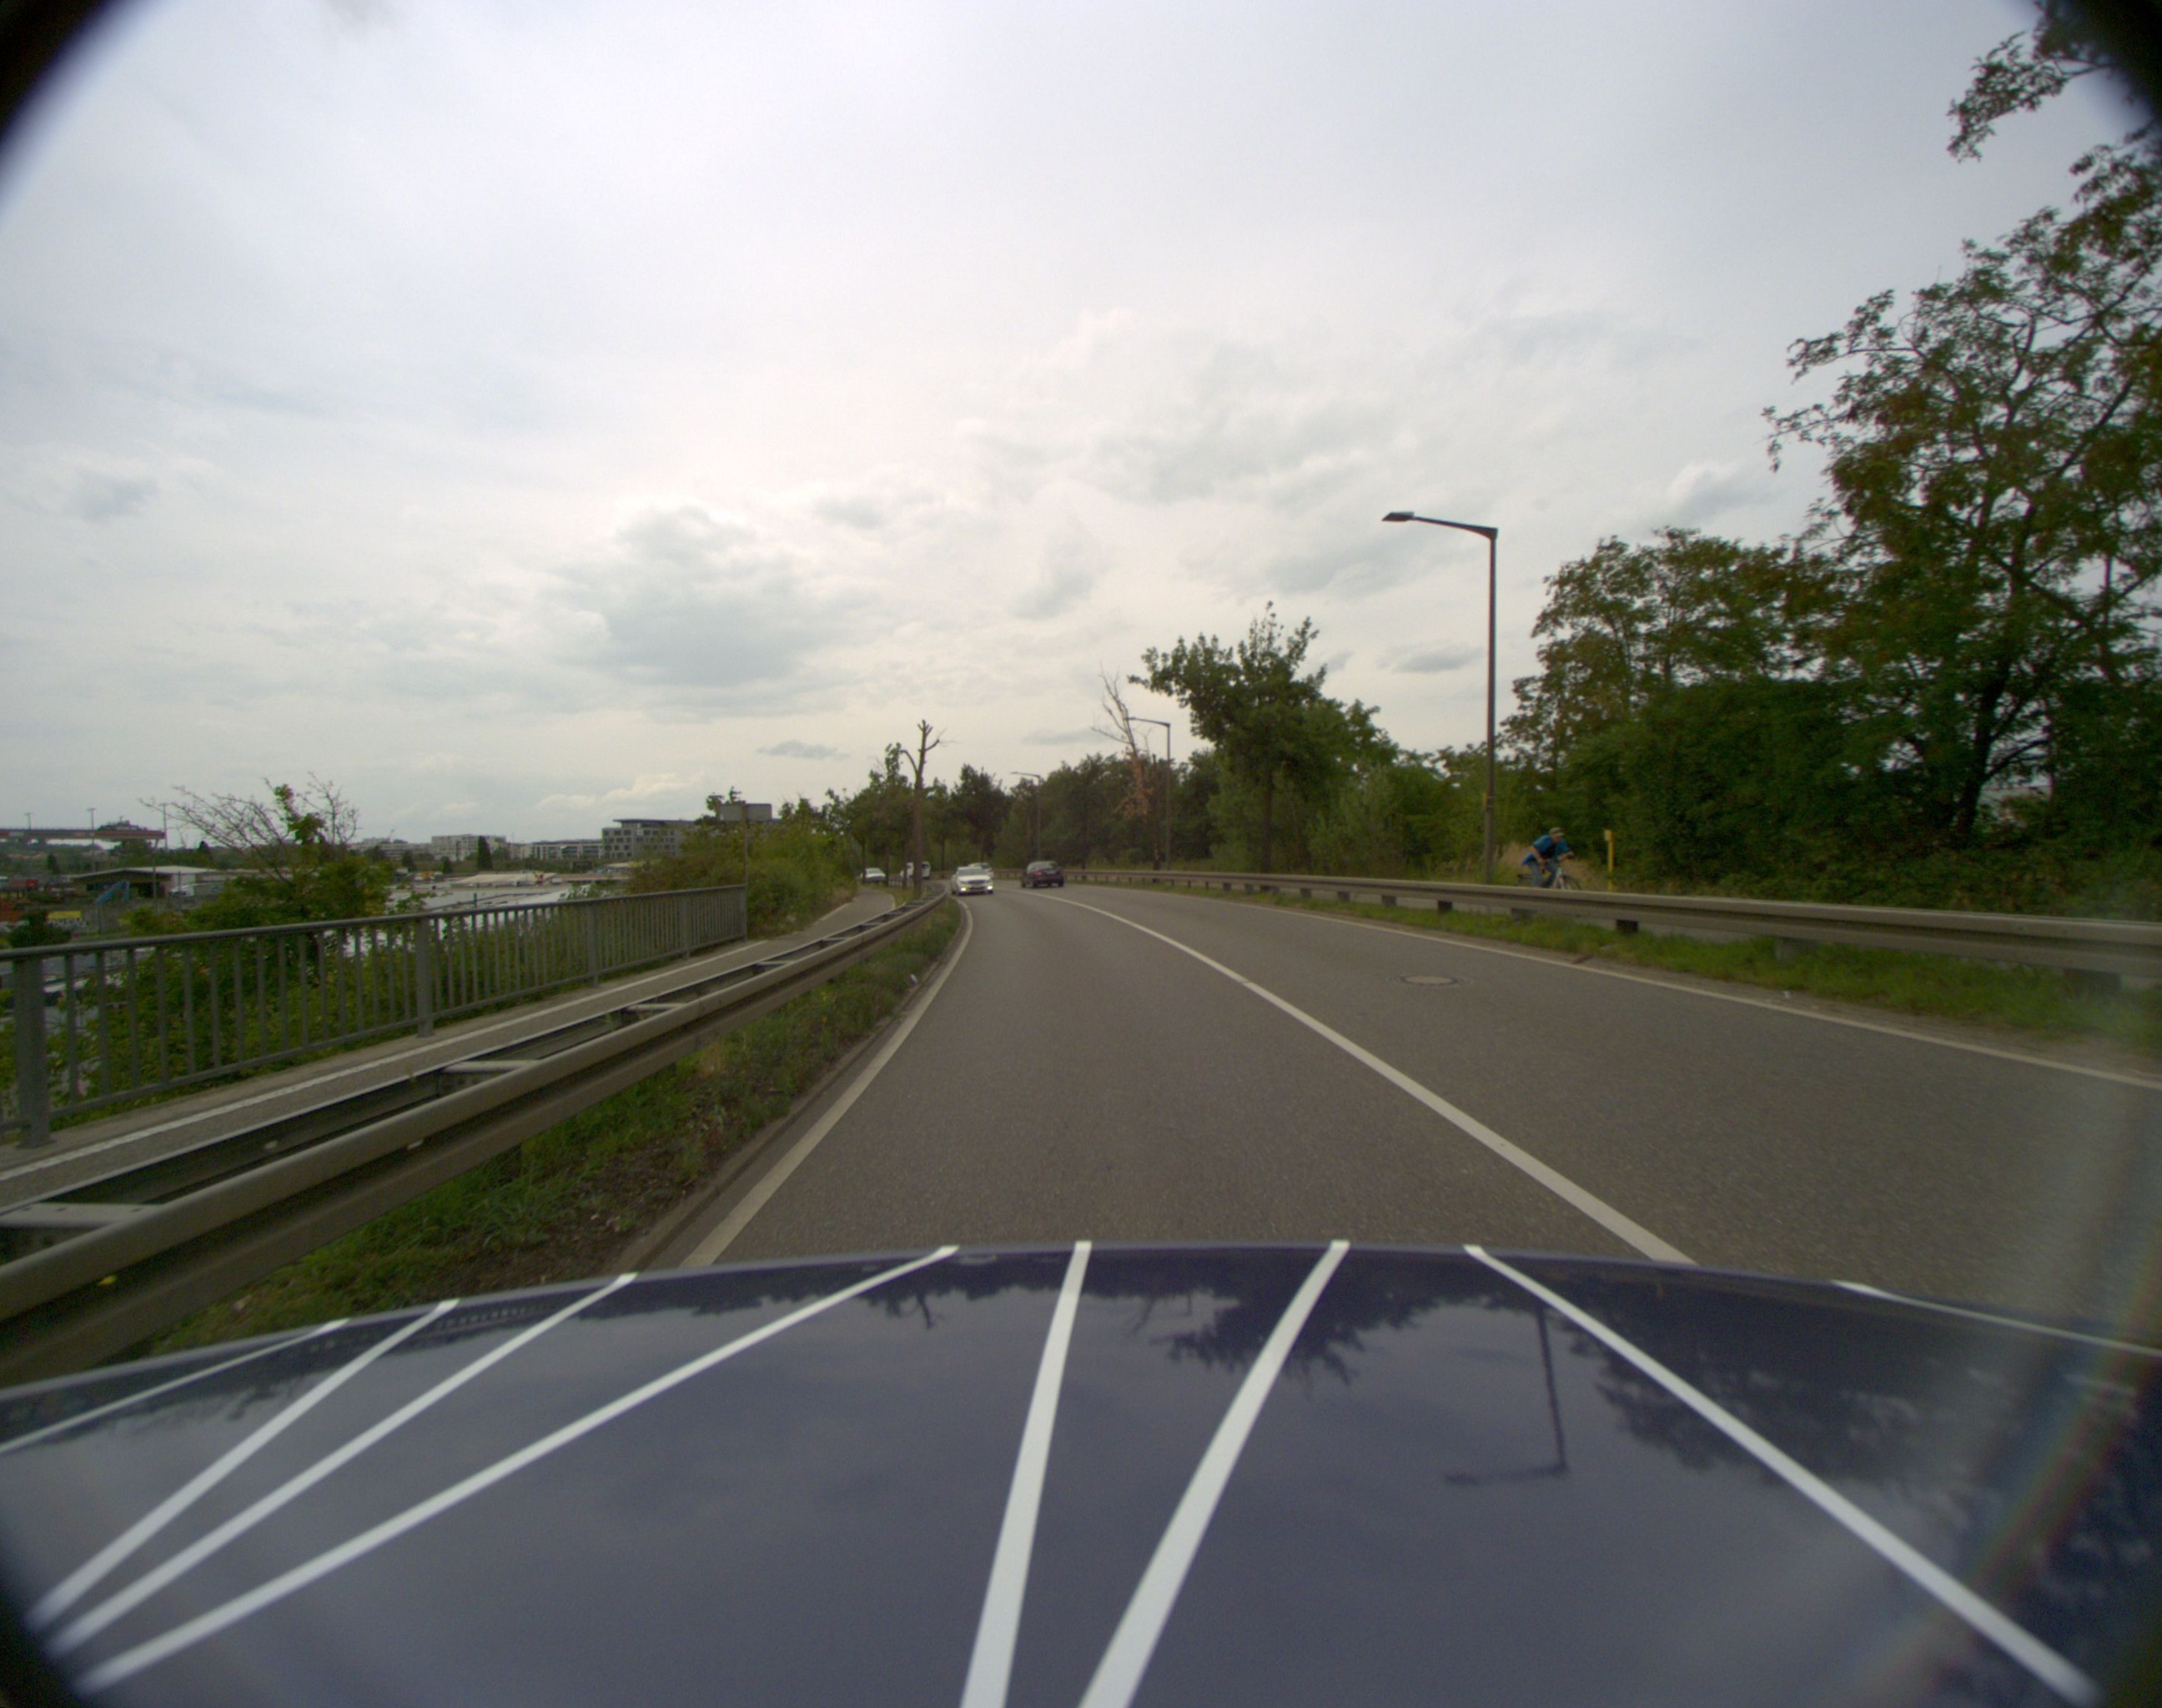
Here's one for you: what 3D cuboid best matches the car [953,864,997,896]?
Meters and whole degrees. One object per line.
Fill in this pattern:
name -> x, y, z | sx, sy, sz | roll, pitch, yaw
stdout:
car -> -5.513, 1.306, 39.202 | 1.939, 1.448, 3.882 | -3, 1, -12

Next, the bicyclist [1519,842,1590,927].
bicyclist -> 8.389, 0.532, 13.481 | 0.713, 1.436, 0.747 | -3, 0, -6

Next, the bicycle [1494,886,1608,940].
bicycle -> 8.329, 1.020, 13.576 | 0.694, 0.793, 1.892 | -3, 0, -6

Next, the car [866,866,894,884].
car -> -20.167, 2.090, 75.981 | 1.966, 1.694, 4.424 | -3, 0, -24

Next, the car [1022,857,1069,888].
car -> -2.026, 0.994, 41.885 | 1.710, 1.487, 4.323 | -4, 0, -14

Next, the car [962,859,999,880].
car -> -7.729, 1.193, 58.020 | 1.813, 1.512, 4.425 | -3, 0, -21

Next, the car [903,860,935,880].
car -> -16.260, 1.594, 75.984 | 1.966, 1.874, 4.424 | -3, 0, -27
